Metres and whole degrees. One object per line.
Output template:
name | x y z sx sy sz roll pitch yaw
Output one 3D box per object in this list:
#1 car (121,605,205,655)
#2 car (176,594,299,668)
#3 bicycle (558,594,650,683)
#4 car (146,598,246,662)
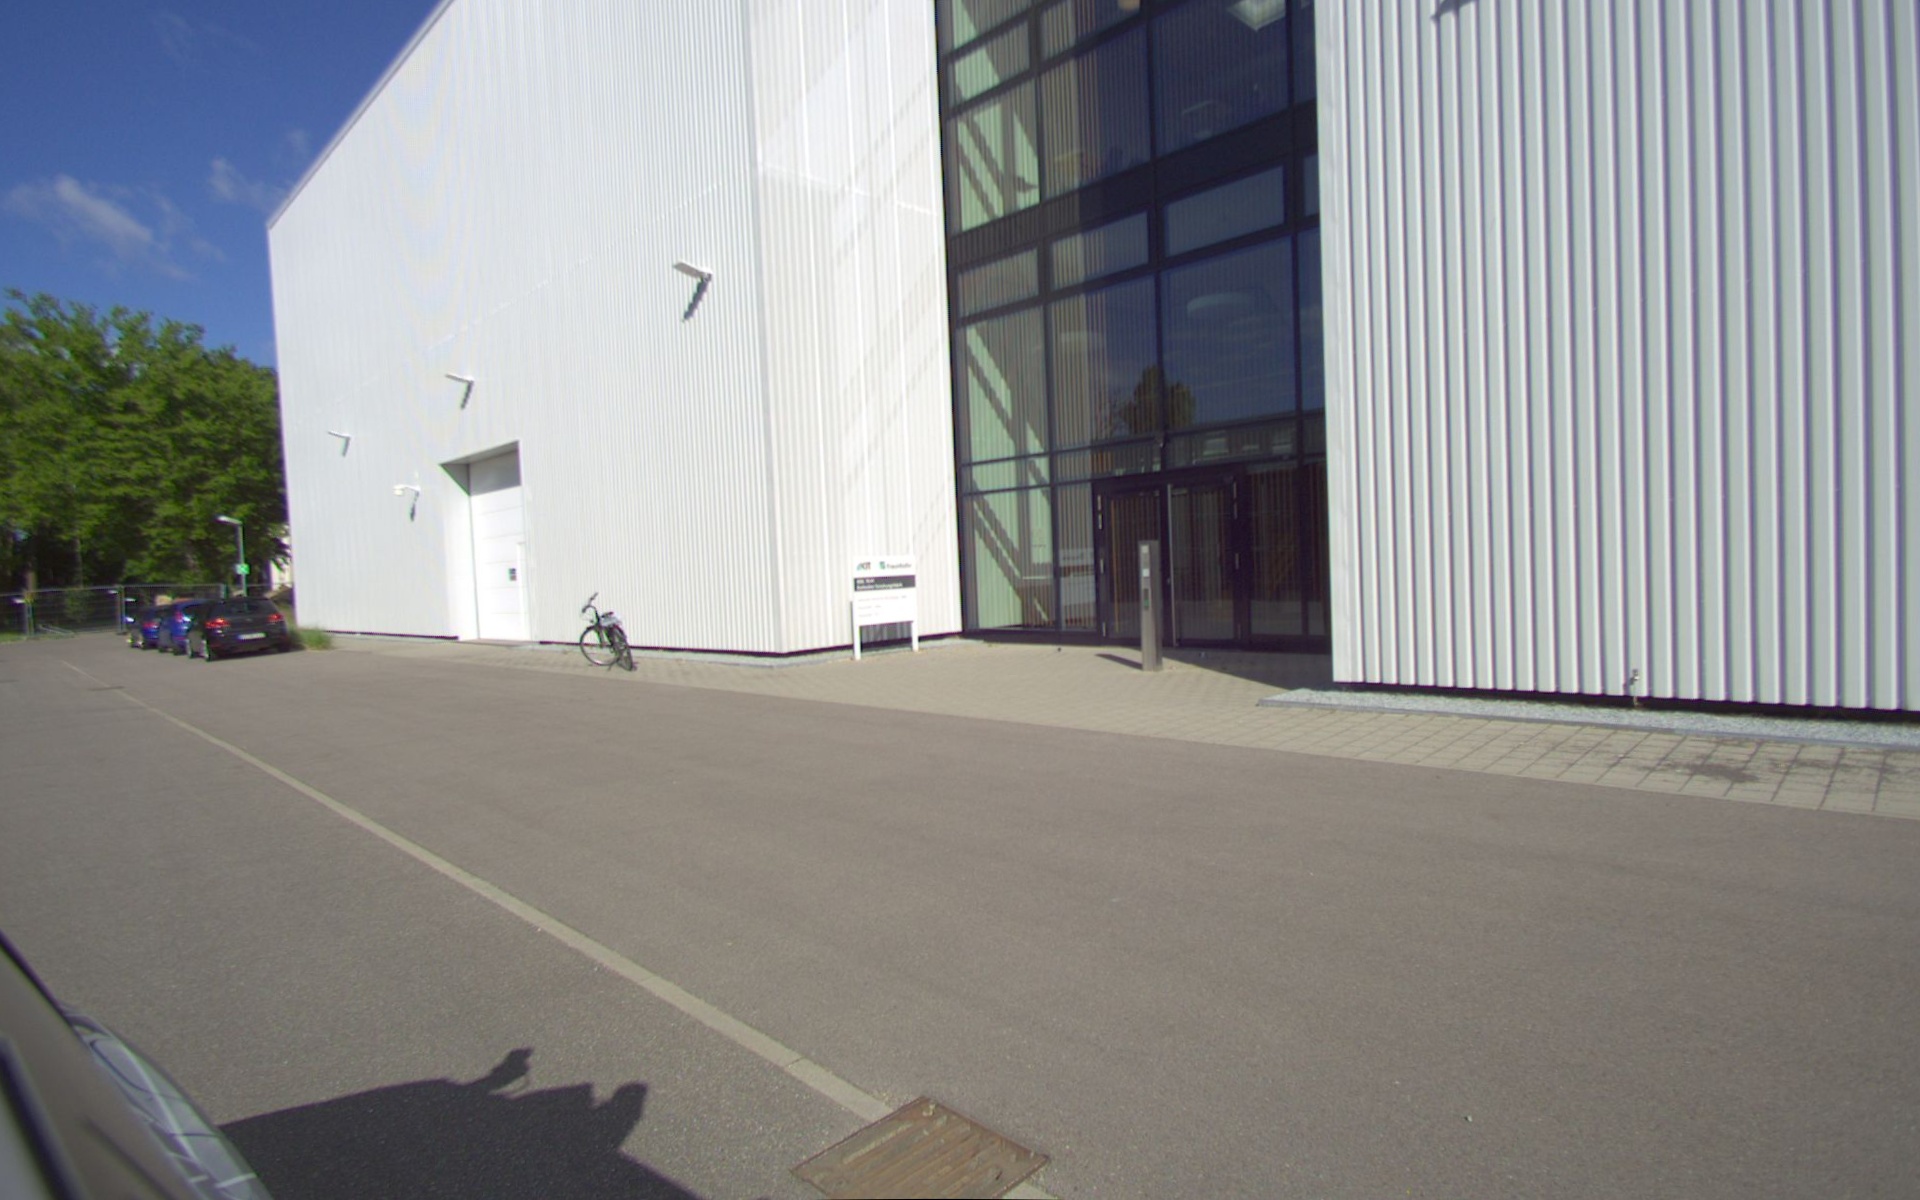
car | -25.795 0.918 32.720 1.764 1.451 4.004 -3 1 -43
car | -18.092 0.719 25.289 1.869 1.532 4.004 -8 5 -43
bicycle | -5.452 0.546 15.423 0.895 1.151 1.906 -7 4 -30
car | -21.882 0.809 28.927 1.765 1.532 4.004 -8 5 -43
